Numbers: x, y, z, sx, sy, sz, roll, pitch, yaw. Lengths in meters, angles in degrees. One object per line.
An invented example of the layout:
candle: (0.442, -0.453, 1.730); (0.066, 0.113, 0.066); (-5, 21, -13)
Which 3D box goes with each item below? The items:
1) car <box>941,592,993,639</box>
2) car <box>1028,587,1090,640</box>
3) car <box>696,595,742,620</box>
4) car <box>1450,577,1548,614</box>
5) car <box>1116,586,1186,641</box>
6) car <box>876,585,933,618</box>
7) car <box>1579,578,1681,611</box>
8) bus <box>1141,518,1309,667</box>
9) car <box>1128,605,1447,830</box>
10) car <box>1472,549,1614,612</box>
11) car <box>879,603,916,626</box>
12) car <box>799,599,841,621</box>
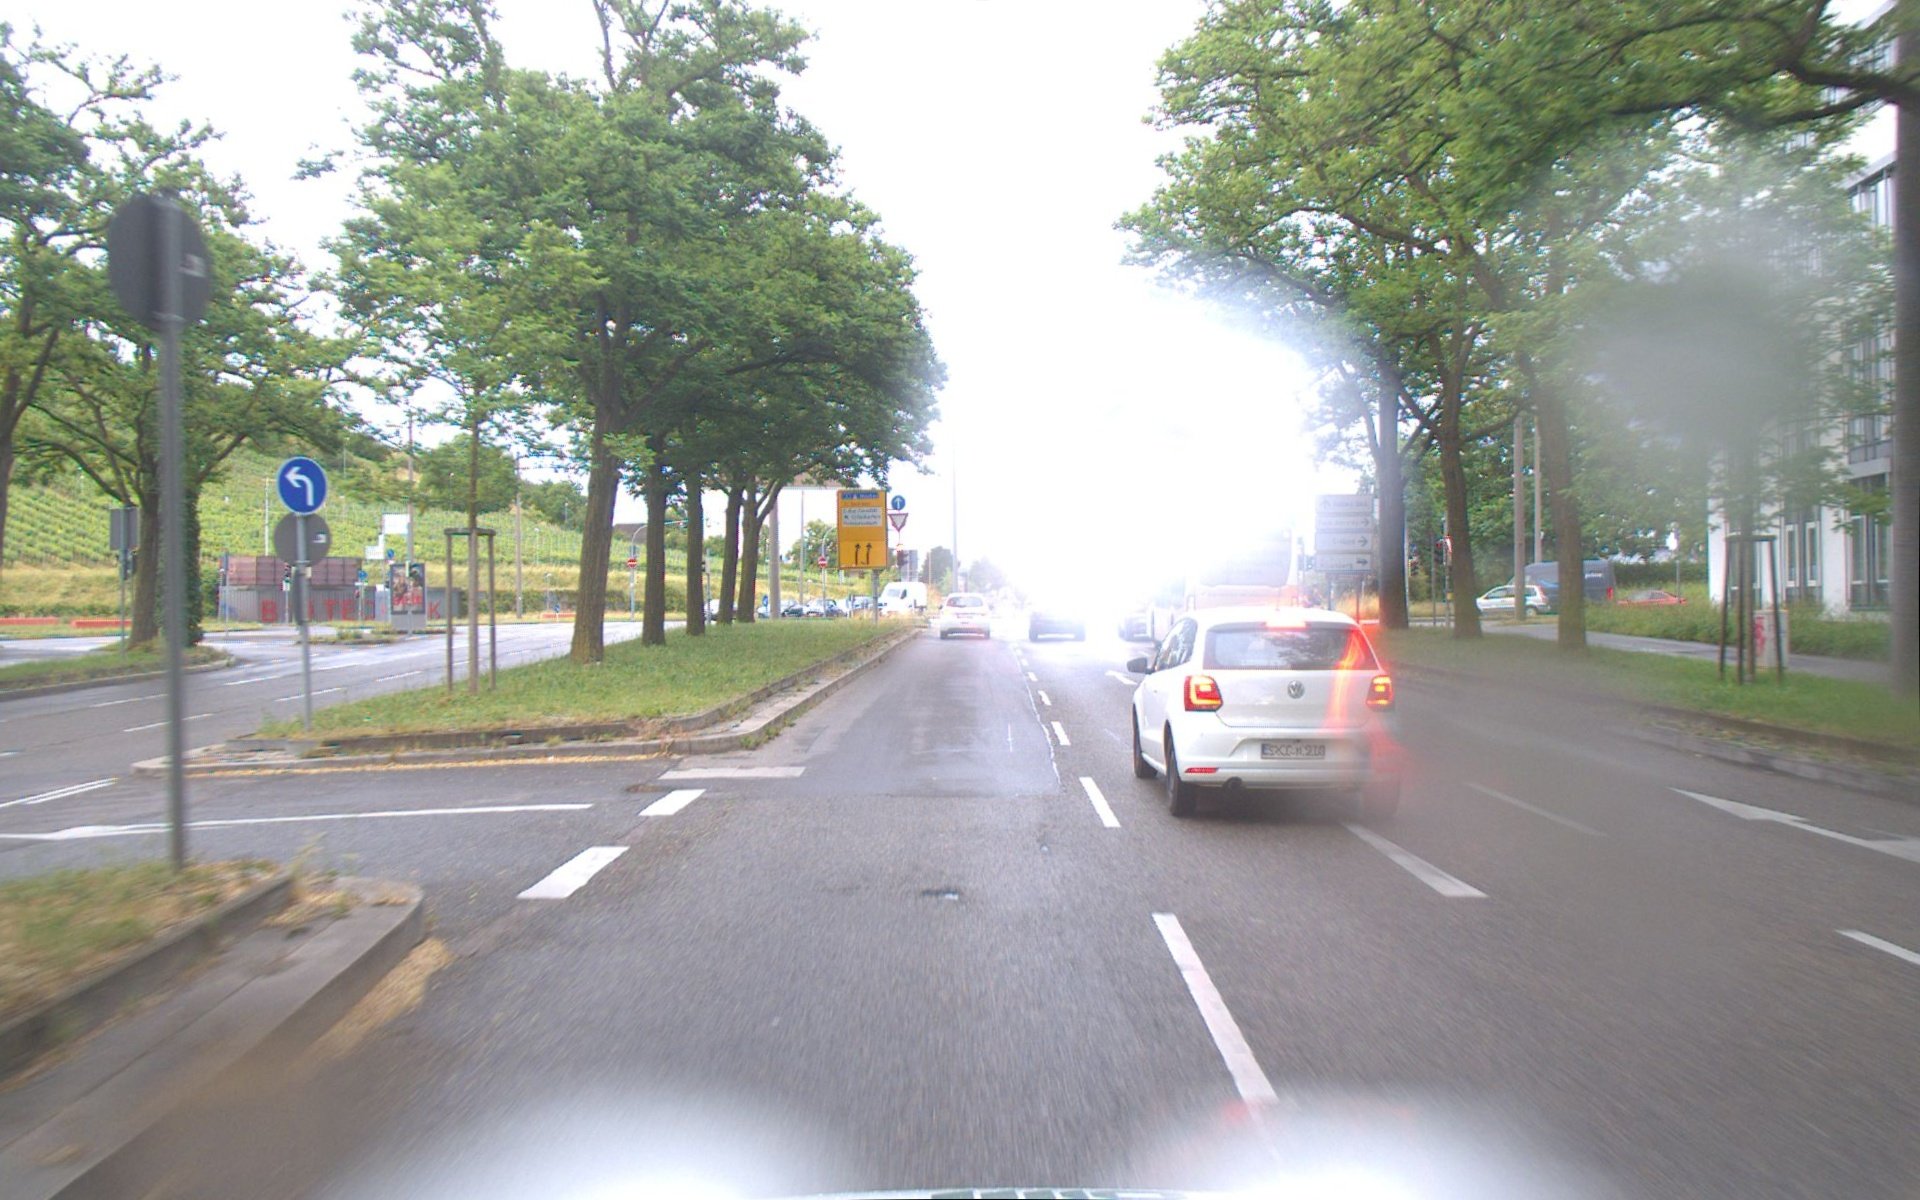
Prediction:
car: (0.268, 0.512, 55.420); (1.682, 1.515, 4.000); (0, 0, 1)
car: (3.179, 0.435, 53.722); (1.845, 1.623, 4.114); (1, 0, 1)
car: (-16.064, 0.500, 110.405); (1.790, 1.652, 4.570); (1, 0, 8)
car: (24.126, -0.182, 74.068); (3.968, 1.596, 1.869); (0, -2, 25)
car: (6.267, 0.399, 54.585); (1.827, 1.703, 4.566); (0, 1, 1)
car: (-4.434, 0.157, 133.483); (1.955, 2.604, 6.163); (1, 0, 26)
car: (32.460, -0.259, 80.140); (4.435, 1.495, 2.160); (1, 0, 27)
bus: (6.447, -0.248, 42.137); (2.670, 3.207, 12.149); (1, 1, 2)
car: (2.360, 0.785, 12.834); (1.705, 1.457, 3.811); (1, 0, 0)
car: (26.668, -0.842, 75.730); (5.895, 2.789, 2.078); (0, -2, 28)
car: (-4.134, 0.962, 110.351); (1.738, 1.450, 4.377); (-1, -1, 7)
car: (-9.278, 0.667, 109.662); (1.748, 1.420, 3.885); (0, -1, 12)
